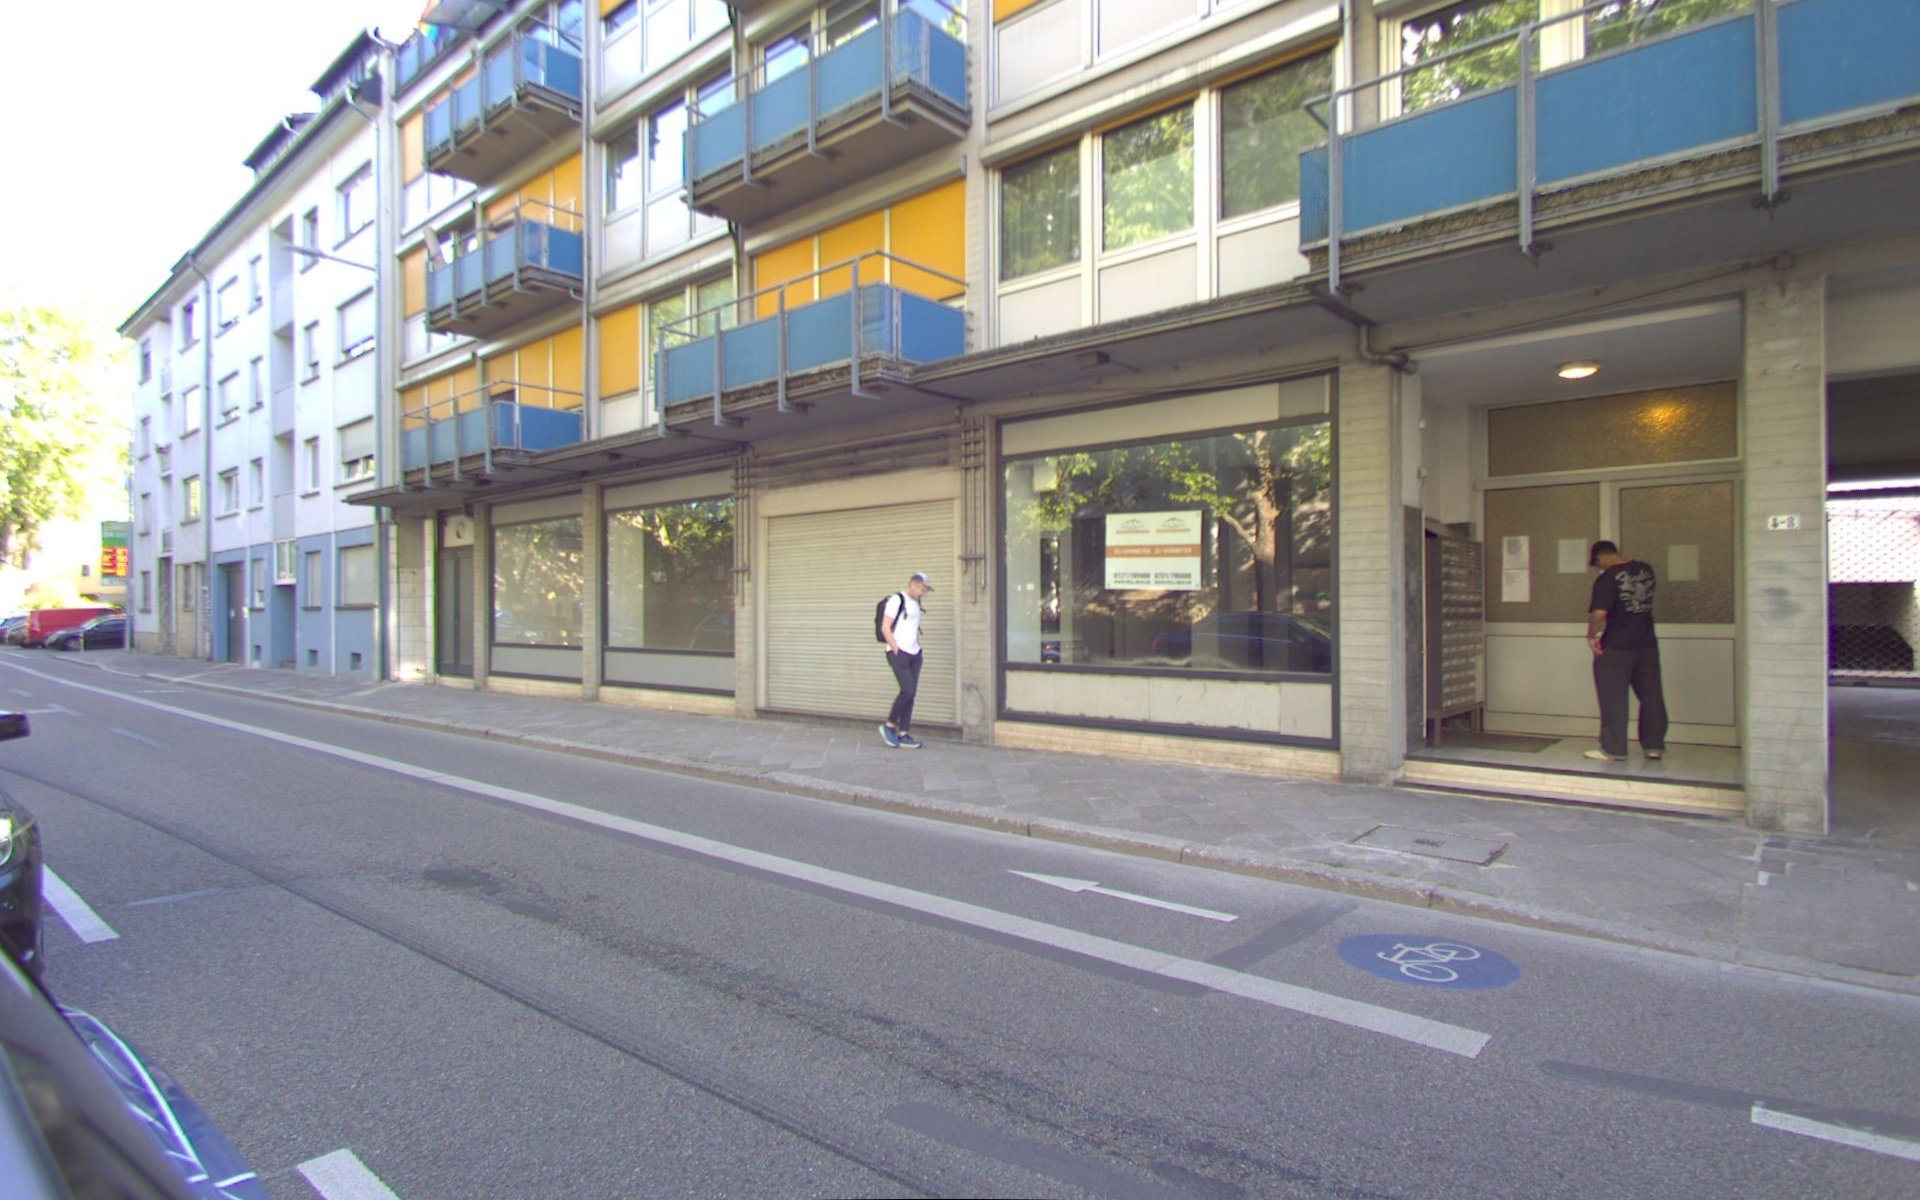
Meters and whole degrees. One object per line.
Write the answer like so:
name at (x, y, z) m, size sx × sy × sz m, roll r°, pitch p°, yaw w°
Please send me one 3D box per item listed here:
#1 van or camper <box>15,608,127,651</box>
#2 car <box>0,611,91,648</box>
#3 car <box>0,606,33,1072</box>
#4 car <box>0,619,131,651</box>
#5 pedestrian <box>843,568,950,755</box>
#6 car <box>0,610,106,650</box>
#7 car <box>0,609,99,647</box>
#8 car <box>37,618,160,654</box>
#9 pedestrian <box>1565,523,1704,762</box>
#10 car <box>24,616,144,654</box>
van or camper at (-43.874, 1.430, 49.993) m, size 1.999 × 2.029 × 3.946 m, roll -1°, pitch -1°, yaw 40°
car at (-57.381, 1.822, 62.844) m, size 1.999 × 2.210 × 4.927 m, roll -1°, pitch -1°, yaw 41°
car at (-5.000, 0.790, 3.838) m, size 3.861 × 1.467 × 1.718 m, roll -1°, pitch -1°, yaw 40°
car at (-45.707, 1.750, 51.685) m, size 1.999 × 1.506 × 4.927 m, roll -1°, pitch -1°, yaw 41°
pedestrian at (-0.654, 0.600, 10.352) m, size 0.879 × 1.813 × 0.593 m, roll -1°, pitch 0°, yaw 41°
car at (-53.300, 1.736, 59.184) m, size 1.999 × 2.210 × 4.927 m, roll -1°, pitch -1°, yaw 41°
car at (-55.387, 1.672, 61.134) m, size 1.999 × 2.210 × 4.927 m, roll -1°, pitch -1°, yaw 41°
car at (-39.738, 1.631, 46.766) m, size 1.999 × 1.506 × 4.093 m, roll -1°, pitch -1°, yaw 41°
pedestrian at (5.106, 0.307, 7.680) m, size 0.650 × 1.726 × 0.550 m, roll 0°, pitch -1°, yaw -16°
car at (-41.618, 1.620, 48.150) m, size 1.999 × 1.703 × 4.093 m, roll -1°, pitch -1°, yaw 41°
